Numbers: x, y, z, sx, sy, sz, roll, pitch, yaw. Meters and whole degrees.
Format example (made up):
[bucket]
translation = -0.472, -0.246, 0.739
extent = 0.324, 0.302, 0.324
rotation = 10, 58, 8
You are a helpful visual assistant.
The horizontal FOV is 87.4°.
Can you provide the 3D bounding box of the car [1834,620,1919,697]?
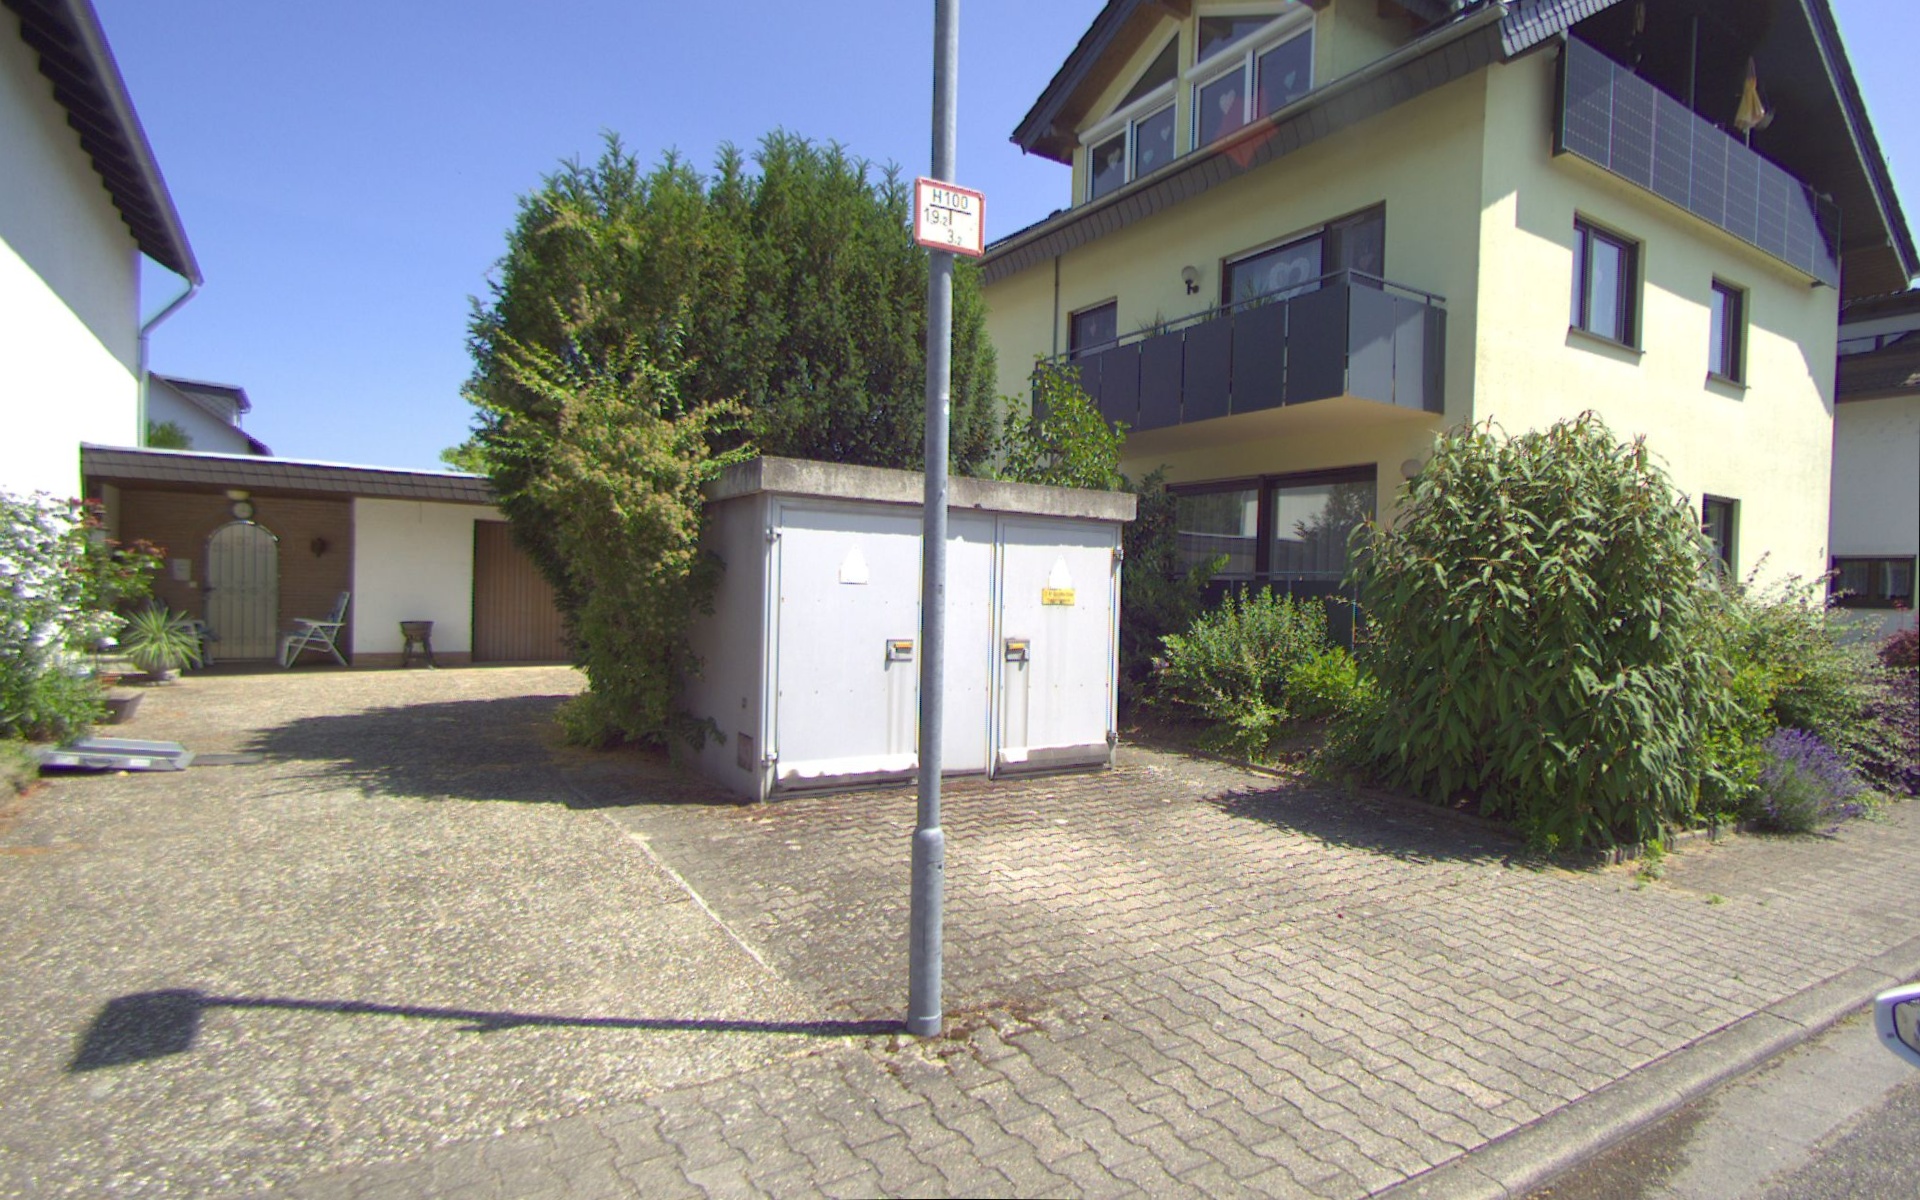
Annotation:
[car]
translation = 19.857, 1.204, 19.565
extent = 1.828, 1.439, 3.957
rotation = 1, 1, -37
